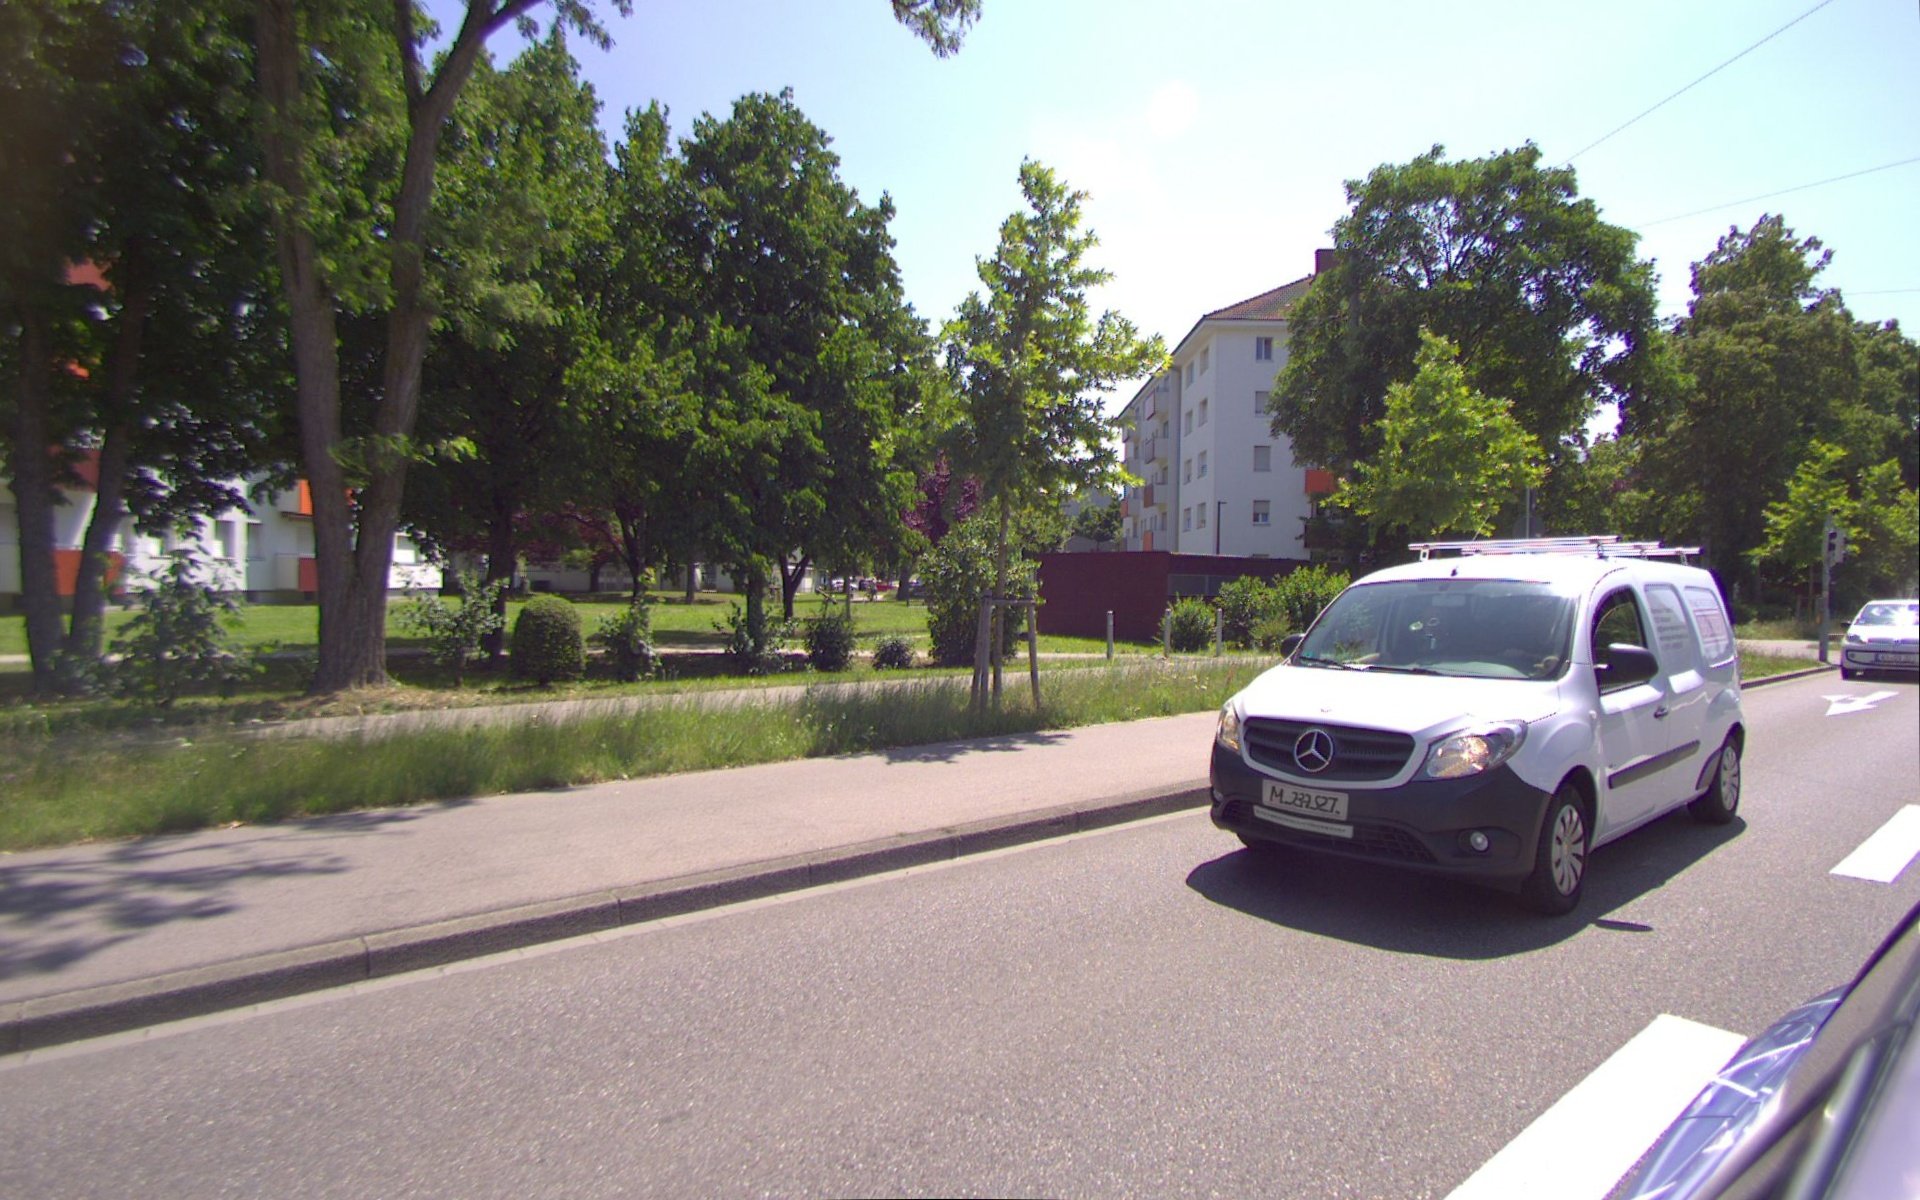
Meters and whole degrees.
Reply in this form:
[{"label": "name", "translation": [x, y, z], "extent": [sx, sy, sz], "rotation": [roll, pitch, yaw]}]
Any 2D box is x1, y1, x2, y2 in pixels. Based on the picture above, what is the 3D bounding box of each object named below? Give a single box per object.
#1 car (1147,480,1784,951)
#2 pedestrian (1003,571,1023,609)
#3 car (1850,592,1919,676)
[{"label": "car", "translation": [3.476, 0.448, 6.366], "extent": [4.993, 1.879, 1.808], "rotation": [0, 0, -41]}, {"label": "pedestrian", "translation": [2.734, -0.490, 52.093], "extent": [0.739, 1.942, 0.891], "rotation": [0, 0, -20]}, {"label": "car", "translation": [18.058, 0.588, 18.975], "extent": [3.437, 1.459, 1.624], "rotation": [0, 0, -41]}]
